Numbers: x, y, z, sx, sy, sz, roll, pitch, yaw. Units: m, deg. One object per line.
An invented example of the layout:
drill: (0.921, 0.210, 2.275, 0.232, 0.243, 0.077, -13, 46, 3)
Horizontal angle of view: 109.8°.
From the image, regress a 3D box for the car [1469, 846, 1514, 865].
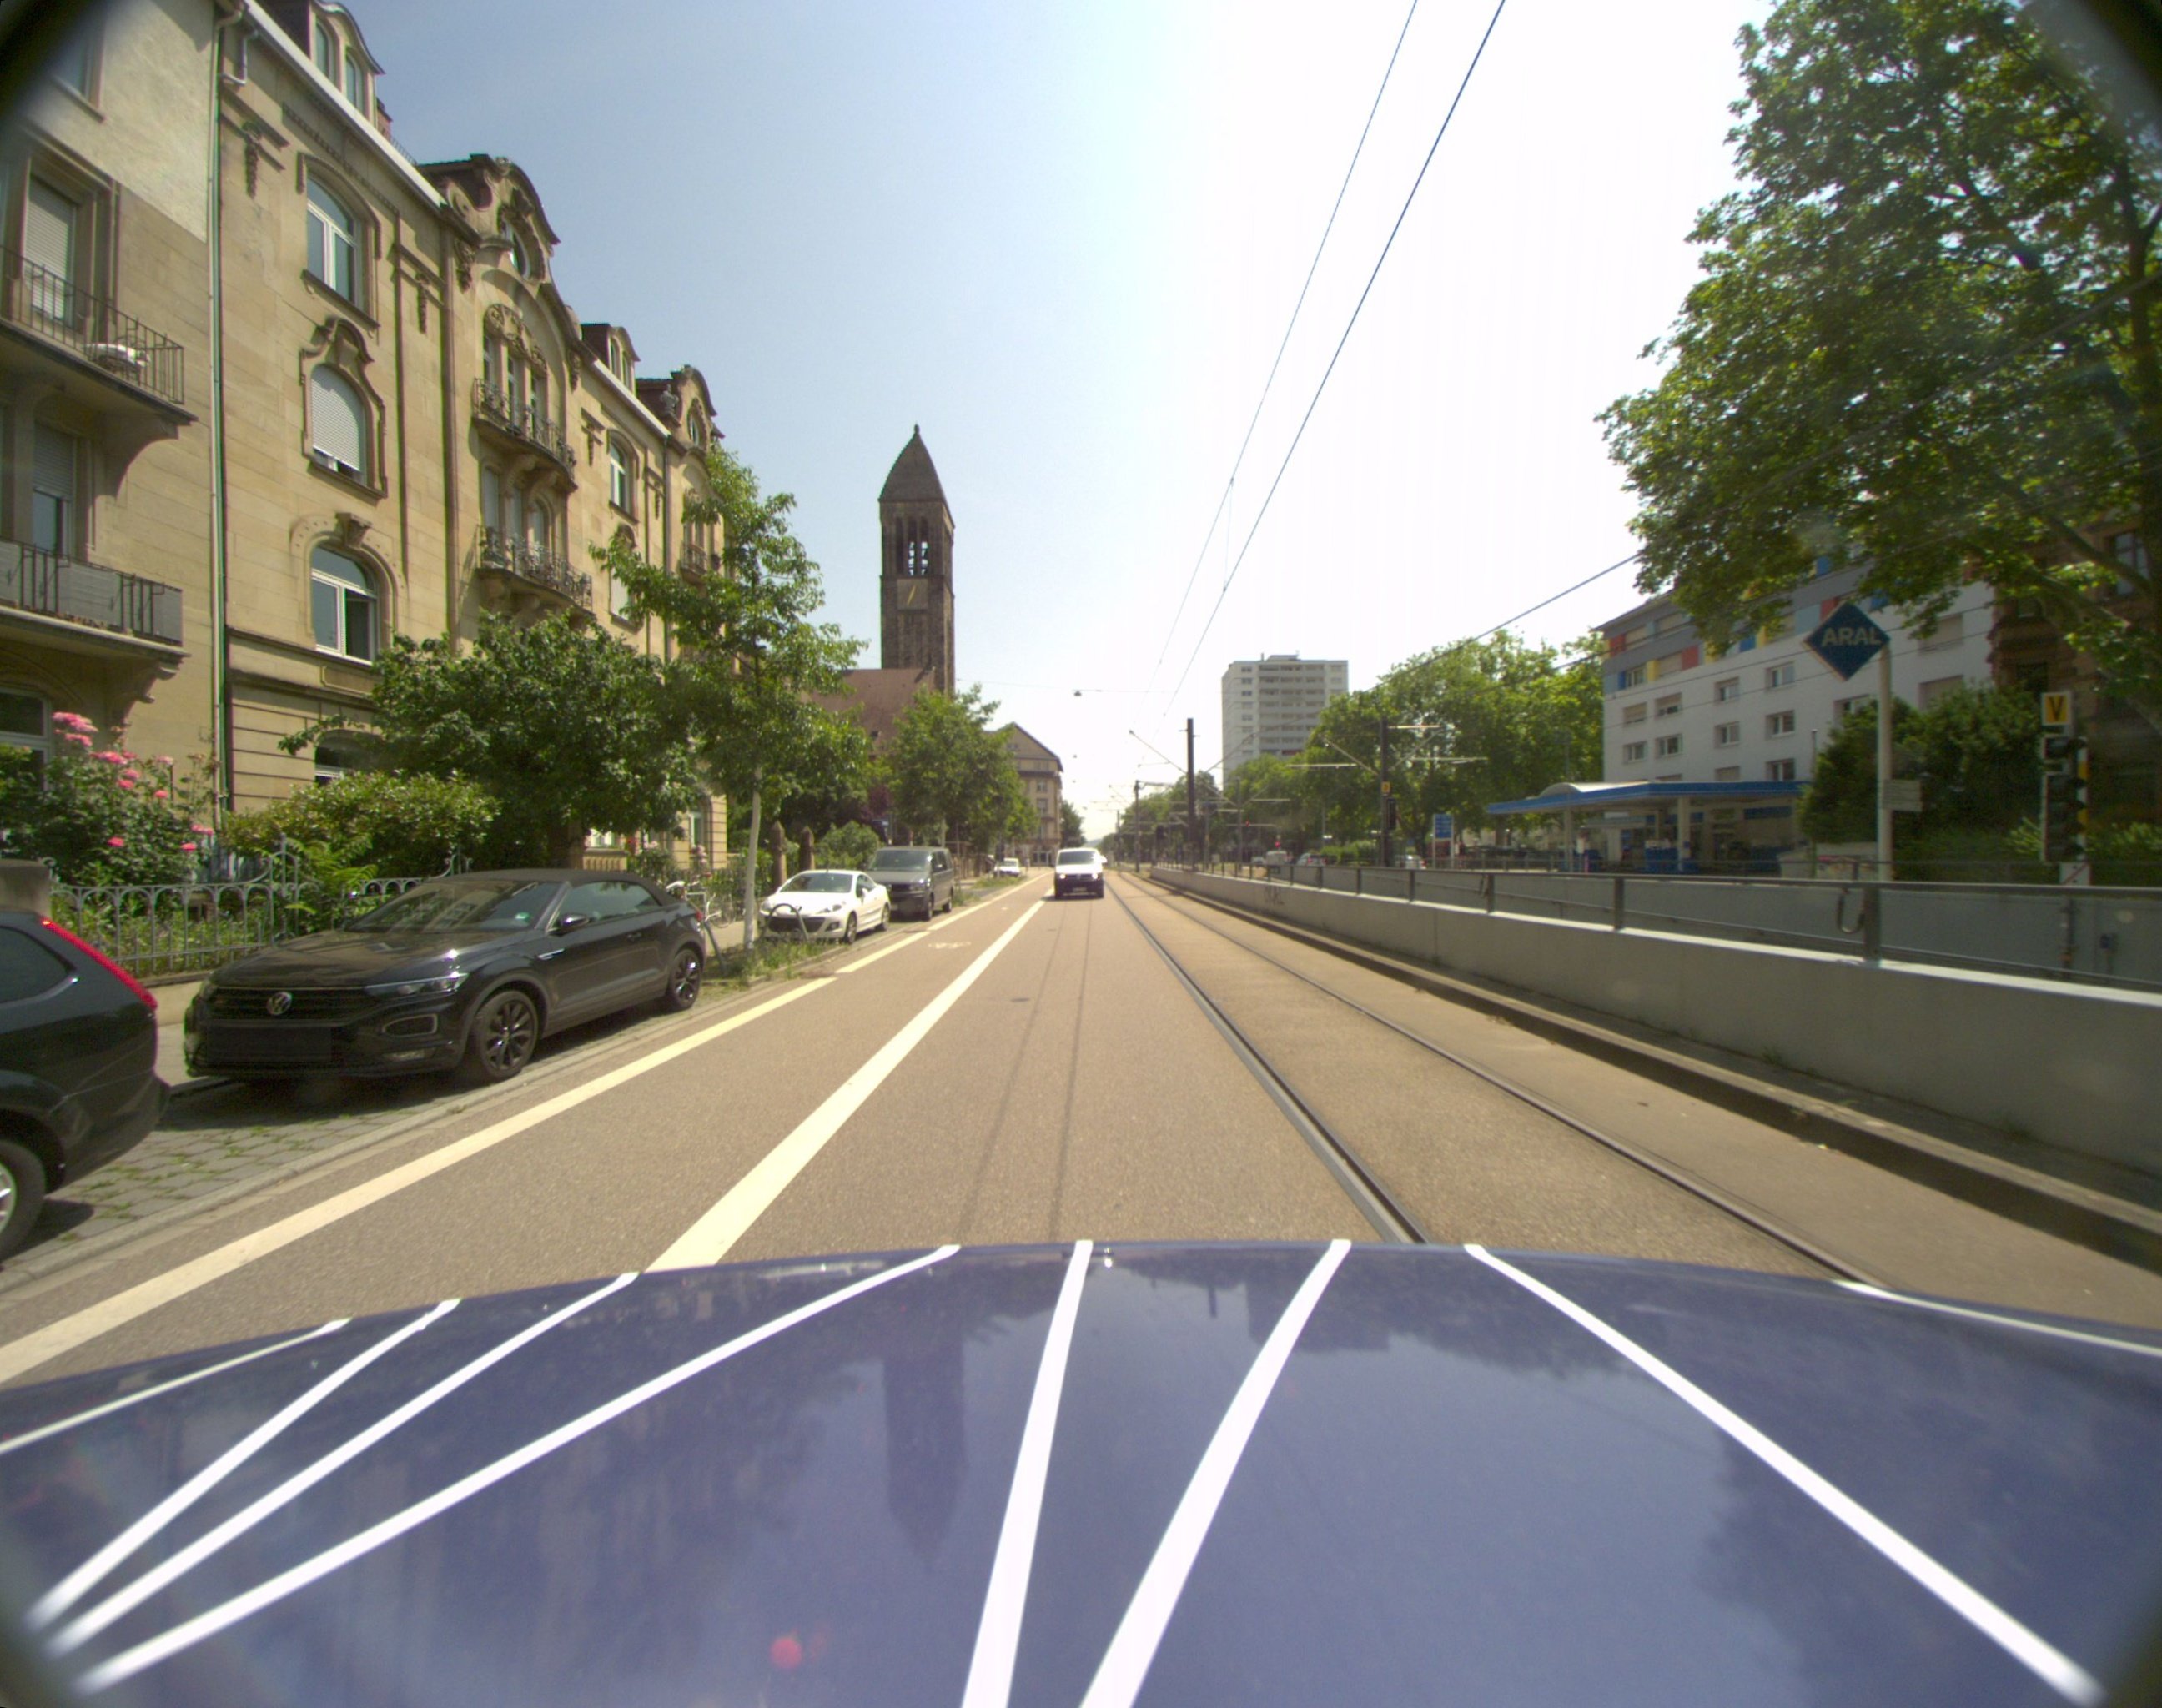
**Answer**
car: (38.285, 0.112, 70.986, 1.998, 1.710, 4.000, -1, 0, 0)

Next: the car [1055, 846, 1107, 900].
car: (0.073, 0.708, 30.372, 1.852, 1.942, 4.943, -1, 0, 2)

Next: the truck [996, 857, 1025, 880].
truck: (-4.814, 0.971, 52.277, 1.794, 1.517, 4.464, -1, 0, -3)

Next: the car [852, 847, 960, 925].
car: (-4.785, 0.807, 21.512, 1.883, 1.936, 4.836, 0, 0, 0)

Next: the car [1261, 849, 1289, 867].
car: (22.031, 0.457, 86.421, 1.781, 1.979, 4.804, -1, 0, -1)

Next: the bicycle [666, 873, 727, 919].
bicycle: (-8.174, 0.880, 16.221, 0.441, 0.875, 1.635, -1, 0, 0)

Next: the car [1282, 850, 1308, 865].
car: (22.173, 0.349, 78.724, 1.600, 1.412, 3.781, 1, 0, 0)

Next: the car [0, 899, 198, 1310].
car: (-5.000, 0.997, 1.328, 1.734, 1.527, 4.404, -1, 0, 0)

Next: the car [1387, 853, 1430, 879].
car: (21.543, 0.759, 50.123, 1.547, 1.552, 3.880, -1, 0, 8)

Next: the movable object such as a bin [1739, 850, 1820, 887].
movable object such as a bin: (26.962, 0.542, 29.385, 1.787, 1.377, 1.469, -1, 0, -2)

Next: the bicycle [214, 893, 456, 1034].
bicycle: (-8.155, 1.129, 8.476, 0.593, 1.254, 2.092, -1, 0, 0)

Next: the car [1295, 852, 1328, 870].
car: (21.887, 0.620, 72.304, 1.851, 1.616, 4.602, 0, 0, 1)

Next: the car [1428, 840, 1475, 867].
car: (34.256, -0.012, 70.430, 1.851, 2.379, 4.981, -1, 0, -1)

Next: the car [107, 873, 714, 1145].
car: (-5.021, 0.992, 6.600, 1.671, 1.521, 4.013, -1, 0, 0)

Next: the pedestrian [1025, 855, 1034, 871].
pedestrian: (-5.431, 0.956, 80.321, 0.795, 1.641, 0.967, -1, 0, 2)

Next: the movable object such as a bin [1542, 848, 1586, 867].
movable object such as a bin: (44.408, 0.337, 69.922, 2.724, 1.601, 1.986, -1, 0, 0)

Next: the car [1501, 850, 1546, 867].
car: (41.582, 0.395, 71.489, 1.867, 1.517, 4.000, -1, 0, 0)

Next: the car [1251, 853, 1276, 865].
car: (22.175, 0.581, 92.449, 1.952, 1.351, 4.628, -1, 0, -1)

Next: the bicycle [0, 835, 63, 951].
bicycle: (-12.603, 0.442, 7.845, 0.566, 1.324, 2.690, -1, 0, -1)

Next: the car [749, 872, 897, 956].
car: (-5.104, 1.125, 15.609, 1.615, 1.397, 4.000, -1, 0, 1)

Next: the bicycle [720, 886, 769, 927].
bicycle: (-8.182, 1.271, 18.540, 0.441, 0.875, 1.635, -1, 0, 0)
